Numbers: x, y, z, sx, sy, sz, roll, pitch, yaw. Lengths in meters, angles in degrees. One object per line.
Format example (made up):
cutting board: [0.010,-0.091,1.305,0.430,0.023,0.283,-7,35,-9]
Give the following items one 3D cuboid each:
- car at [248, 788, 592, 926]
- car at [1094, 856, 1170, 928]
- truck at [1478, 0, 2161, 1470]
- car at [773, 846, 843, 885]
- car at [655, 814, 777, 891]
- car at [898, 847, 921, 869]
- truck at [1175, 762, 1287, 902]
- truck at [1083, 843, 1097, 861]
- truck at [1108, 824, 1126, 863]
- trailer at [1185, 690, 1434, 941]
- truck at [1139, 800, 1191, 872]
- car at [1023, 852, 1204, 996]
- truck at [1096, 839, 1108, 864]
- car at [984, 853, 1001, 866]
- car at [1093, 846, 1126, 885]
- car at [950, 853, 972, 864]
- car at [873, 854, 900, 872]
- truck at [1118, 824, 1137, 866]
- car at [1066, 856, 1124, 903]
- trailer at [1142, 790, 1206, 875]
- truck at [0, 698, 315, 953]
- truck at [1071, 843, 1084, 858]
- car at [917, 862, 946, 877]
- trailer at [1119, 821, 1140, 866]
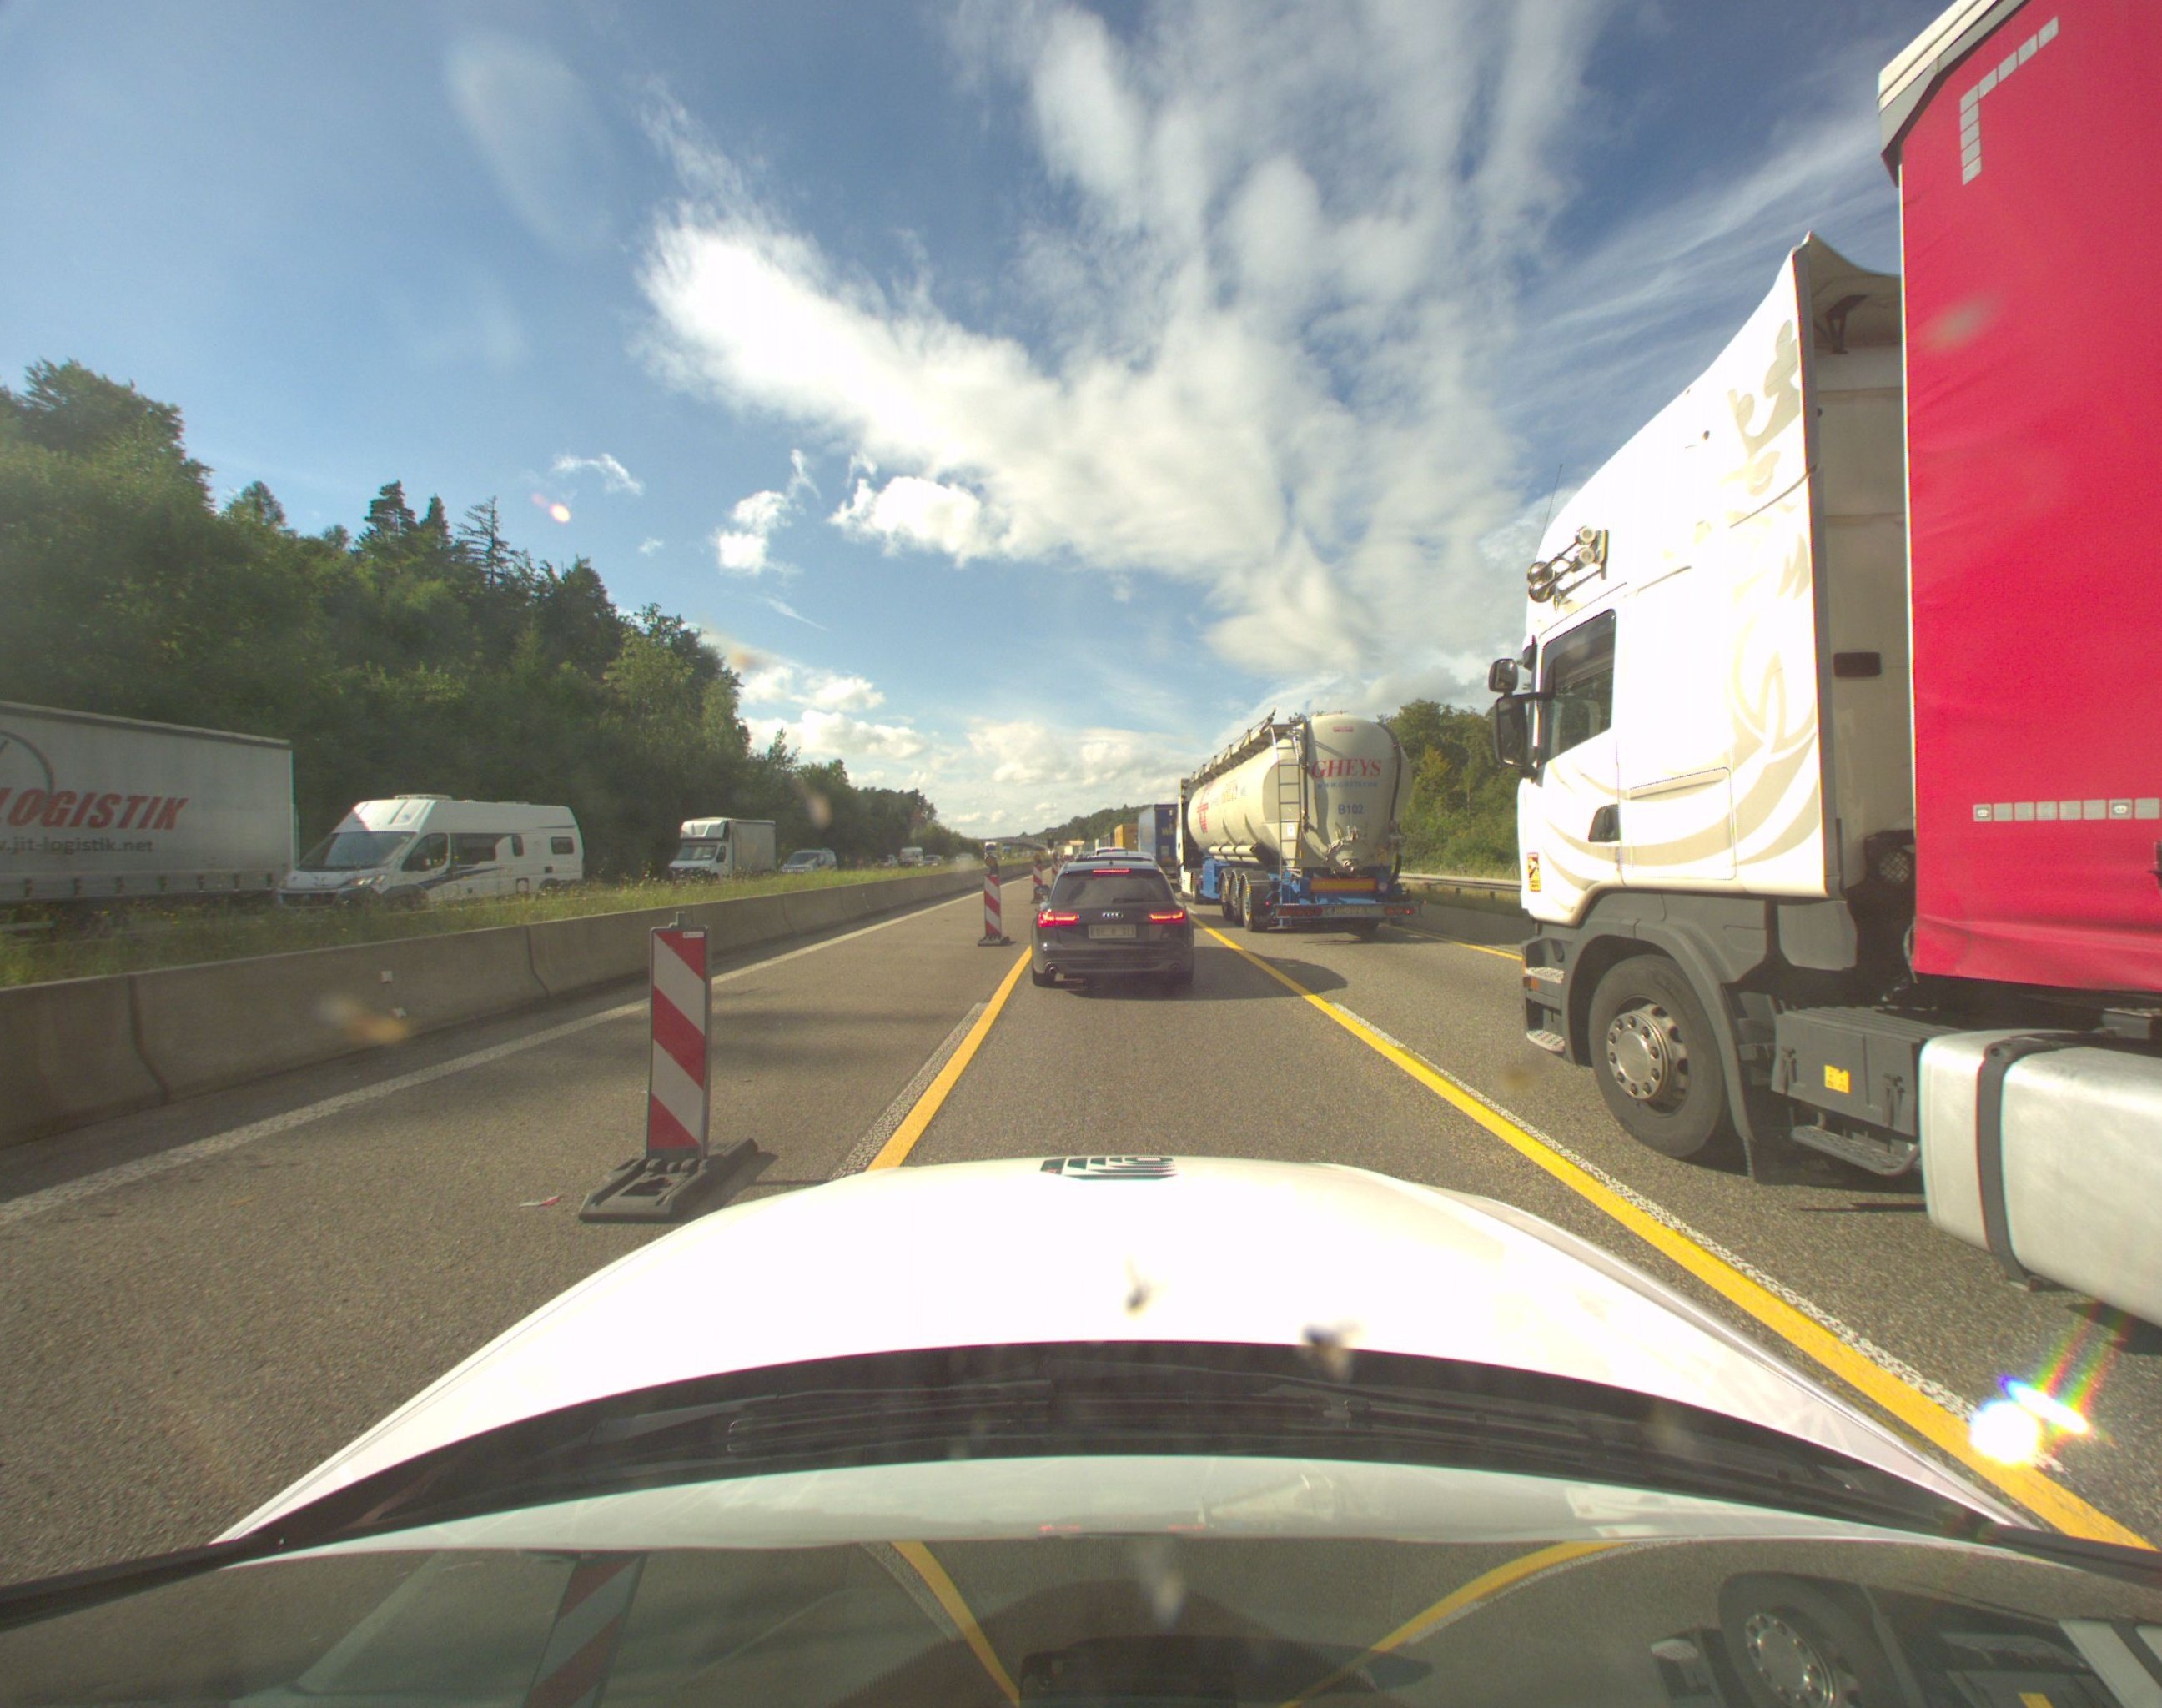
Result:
car: [-13.766,0.052,17.774,2.152,2.451,6.334,0,0,2]
car: [1.066,0.777,17.958,1.518,1.439,3.286,0,-1,2]
truck: [3.947,-0.496,2.569,2.658,3.959,5.711,-1,0,1]
car: [-13.427,0.574,40.254,1.937,1.813,4.121,0,-1,2]
car: [-17.568,-0.043,39.799,2.478,3.370,7.453,0,-1,1]
car: [-21.042,0.537,100.149,2.247,2.643,5.009,0,-1,-6]
truck: [4.589,-0.608,26.036,2.649,3.972,5.780,0,-1,1]
truck: [2.230,-0.480,203.837,3.294,4.175,9.700,-1,0,0]
truck: [4.721,-1.347,108.280,1.987,4.914,9.561,0,0,0]
trailer: [4.389,-0.594,19.099,2.634,3.943,12.601,0,0,2]
truck: [5.419,-1.053,53.664,2.796,4.370,7.794,0,-1,2]
car: [0.392,0.739,10.399,1.842,1.463,4.001,-1,-1,2]
truck: [3.646,-0.440,141.817,2.130,4.257,7.073,0,-1,1]
car: [-13.737,0.855,127.324,1.986,2.014,4.833,0,0,2]
car: [1.377,0.553,39.543,1.575,1.837,3.112,0,-1,2]
car: [-14.668,0.554,99.777,1.951,1.363,4.289,0,0,2]
car: [-21.526,0.984,90.289,1.986,2.014,4.001,0,-1,2]
truck: [4.426,-0.858,78.028,1.604,3.897,4.072,0,-1,1]
car: [0.480,0.784,26.471,1.745,1.397,3.609,0,0,2]
trailer: [5.239,-1.073,47.626,2.795,4.413,10.435,0,-1,2]
truck: [-18.297,-0.440,12.699,2.790,3.992,10.189,0,0,2]
truck: [-1.046,-0.984,234.980,3.295,4.174,9.696,-1,0,-1]
car: [-13.781,1.409,75.225,1.772,1.387,4.312,0,0,2]
trailer: [4.363,-0.878,74.422,1.611,3.918,6.489,0,-1,1]
